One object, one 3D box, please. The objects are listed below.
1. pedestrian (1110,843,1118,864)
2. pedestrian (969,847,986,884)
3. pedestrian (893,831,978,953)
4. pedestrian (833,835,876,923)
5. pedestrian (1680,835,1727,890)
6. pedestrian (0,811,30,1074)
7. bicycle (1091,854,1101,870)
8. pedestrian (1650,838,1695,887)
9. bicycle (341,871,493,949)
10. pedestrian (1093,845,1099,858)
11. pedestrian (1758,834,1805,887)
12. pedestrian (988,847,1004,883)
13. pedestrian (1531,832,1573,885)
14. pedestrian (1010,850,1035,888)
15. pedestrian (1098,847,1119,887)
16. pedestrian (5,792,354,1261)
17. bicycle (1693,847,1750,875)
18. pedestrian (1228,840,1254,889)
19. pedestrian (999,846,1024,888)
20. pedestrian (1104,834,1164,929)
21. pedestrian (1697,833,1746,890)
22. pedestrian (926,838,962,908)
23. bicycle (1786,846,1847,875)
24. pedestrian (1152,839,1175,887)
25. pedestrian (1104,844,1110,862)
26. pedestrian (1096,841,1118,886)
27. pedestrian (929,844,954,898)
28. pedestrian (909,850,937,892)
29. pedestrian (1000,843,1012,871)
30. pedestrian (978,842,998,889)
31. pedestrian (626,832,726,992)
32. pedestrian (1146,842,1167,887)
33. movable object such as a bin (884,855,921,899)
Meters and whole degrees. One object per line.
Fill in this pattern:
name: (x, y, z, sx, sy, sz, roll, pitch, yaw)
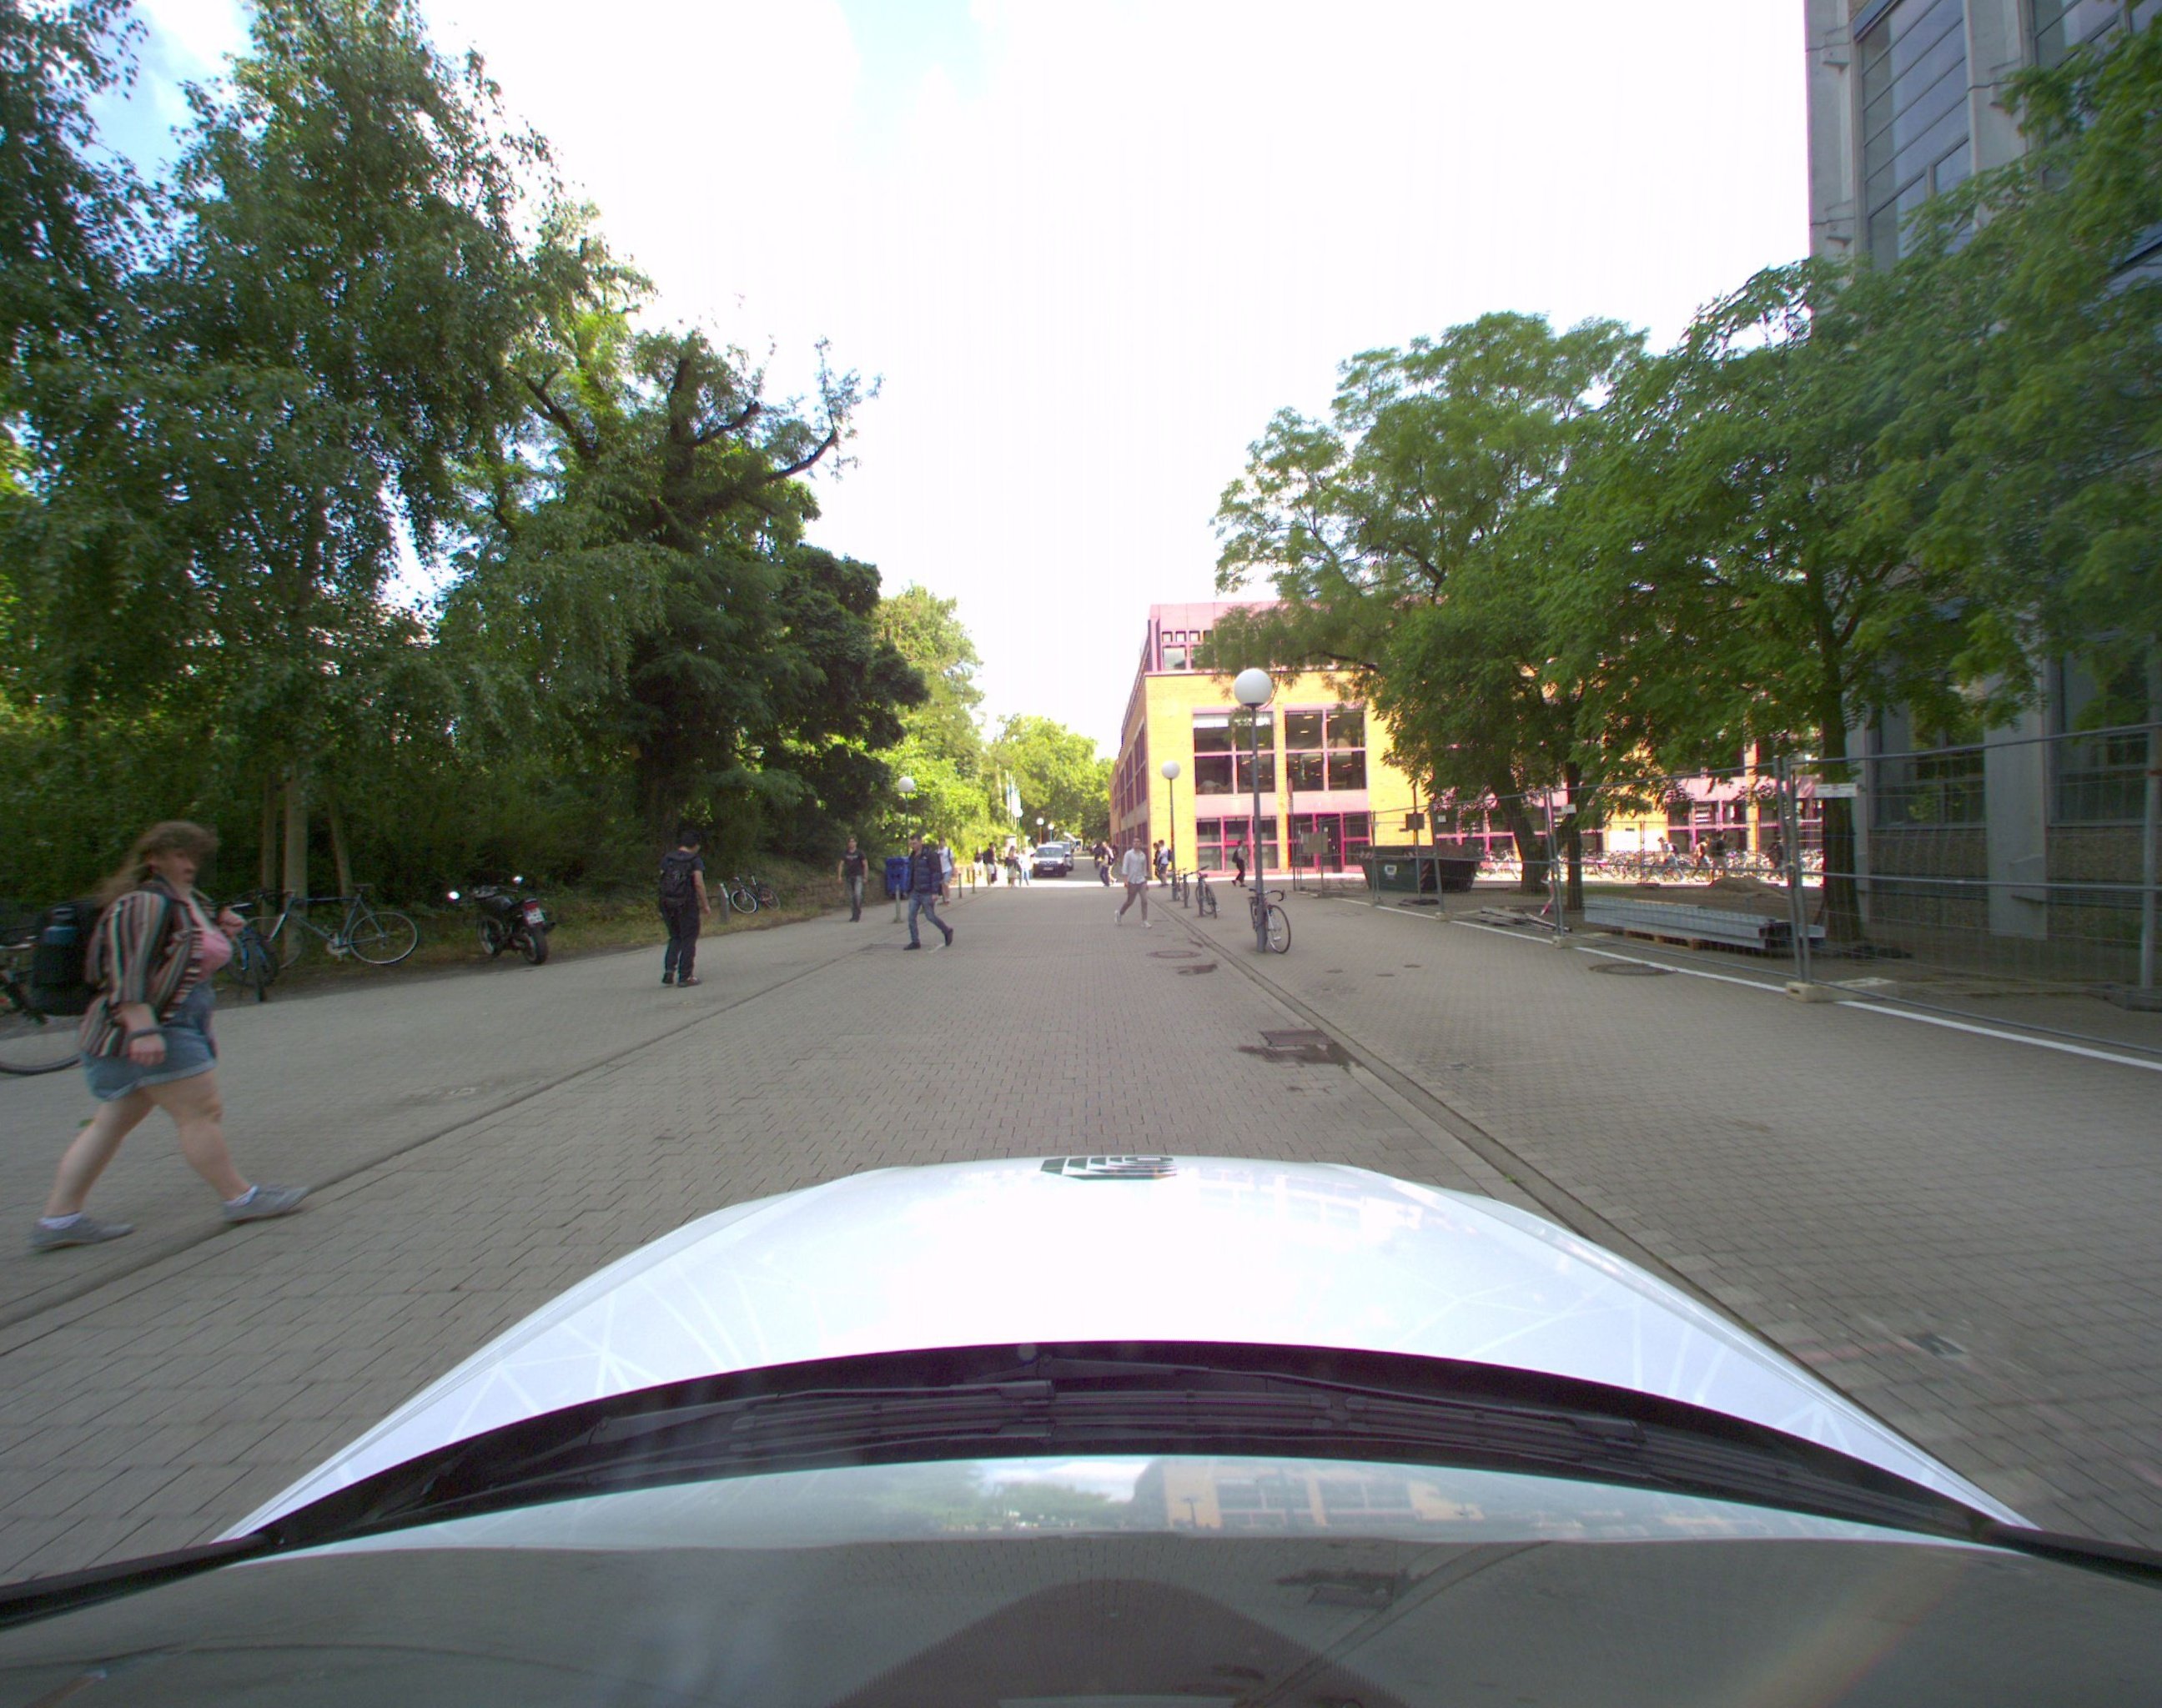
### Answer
pedestrian: (2.669, -0.024, 65.886, 0.584, 1.672, 0.699, -2, -1, 2)
pedestrian: (-4.673, 0.522, 36.855, 0.681, 1.620, 0.977, -1, -1, -4)
pedestrian: (-2.322, 0.573, 13.070, 0.877, 1.857, 1.039, 0, 0, 32)
pedestrian: (-4.986, 0.534, 17.971, 0.681, 1.873, 1.119, -1, -1, -4)
pedestrian: (19.956, 0.289, 26.126, 0.900, 1.728, 0.683, -1, -2, -5)
pedestrian: (-7.535, 0.596, 5.118, 0.669, 1.724, 0.943, -1, 1, 23)
bicycle: (1.051, 0.577, 57.311, 0.585, 1.083, 1.906, -1, 0, -3)
pedestrian: (20.500, 0.287, 28.247, 1.039, 1.651, 0.704, -1, -1, 7)
bicycle: (-9.790, 0.789, 12.089, 0.468, 1.047, 1.708, 1, 0, 22)
pedestrian: (1.929, -0.351, 105.616, 0.722, 1.672, 0.748, -2, -1, 1)
pedestrian: (23.252, 0.230, 27.058, 0.900, 1.728, 0.683, -1, -2, -5)
pedestrian: (-3.881, 0.500, 37.111, 0.681, 1.620, 0.912, -1, -1, -4)
pedestrian: (15.649, 0.155, 27.069, 0.900, 1.728, 0.683, -1, -2, -5)
pedestrian: (-2.446, 0.617, 34.282, 0.881, 1.542, 0.744, -1, 0, 6)
pedestrian: (1.105, 0.525, 33.012, 0.778, 1.620, 0.684, -1, -1, -2)
pedestrian: (-3.730, 0.631, 3.425, 0.679, 1.724, 0.734, 0, 0, 13)
bicycle: (27.246, 0.304, 34.658, 1.990, 1.169, 0.545, 0, 0, -1)
pedestrian: (5.553, 0.364, 28.341, 0.847, 1.651, 0.589, -1, -1, 7)
pedestrian: (-2.784, 0.518, 32.856, 0.881, 1.672, 0.560, -1, -1, 7)
pedestrian: (1.048, 0.527, 16.380, 0.787, 1.845, 1.109, 0, 0, -24)
pedestrian: (19.880, 0.239, 25.303, 0.900, 1.728, 0.683, -1, -2, -5)
pedestrian: (-3.785, 0.511, 22.525, 0.720, 1.881, 1.084, -1, -1, 4)
bicycle: (29.298, 0.254, 32.442, 1.990, 1.169, 0.545, 0, 0, -1)
pedestrian: (3.144, 0.346, 30.985, 0.762, 1.794, 0.589, -3, -1, 7)
pedestrian: (2.556, -0.091, 79.928, 0.584, 1.672, 0.817, -2, -1, 2)
pedestrian: (1.071, 0.387, 33.808, 0.823, 1.844, 0.684, -1, -1, -2)
pedestrian: (-4.562, 0.553, 26.672, 0.681, 1.728, 1.001, -1, 0, -3)
pedestrian: (-6.193, 0.654, 32.006, 0.907, 1.611, 0.574, -1, -1, 27)
pedestrian: (-5.057, 0.199, 54.798, 0.680, 1.844, 0.783, -1, -1, 0)
pedestrian: (-3.717, 0.466, 32.633, 0.680, 1.844, 0.783, -1, -1, 0)
pedestrian: (-4.580, 0.627, 9.268, 0.682, 1.724, 0.903, 0, 0, -2)
pedestrian: (2.939, 0.404, 31.636, 0.693, 1.672, 0.589, -3, -1, 7)
movable object such as a bin: (-5.727, 0.725, 26.247, 0.705, 1.336, 1.243, 1, 0, 10)
